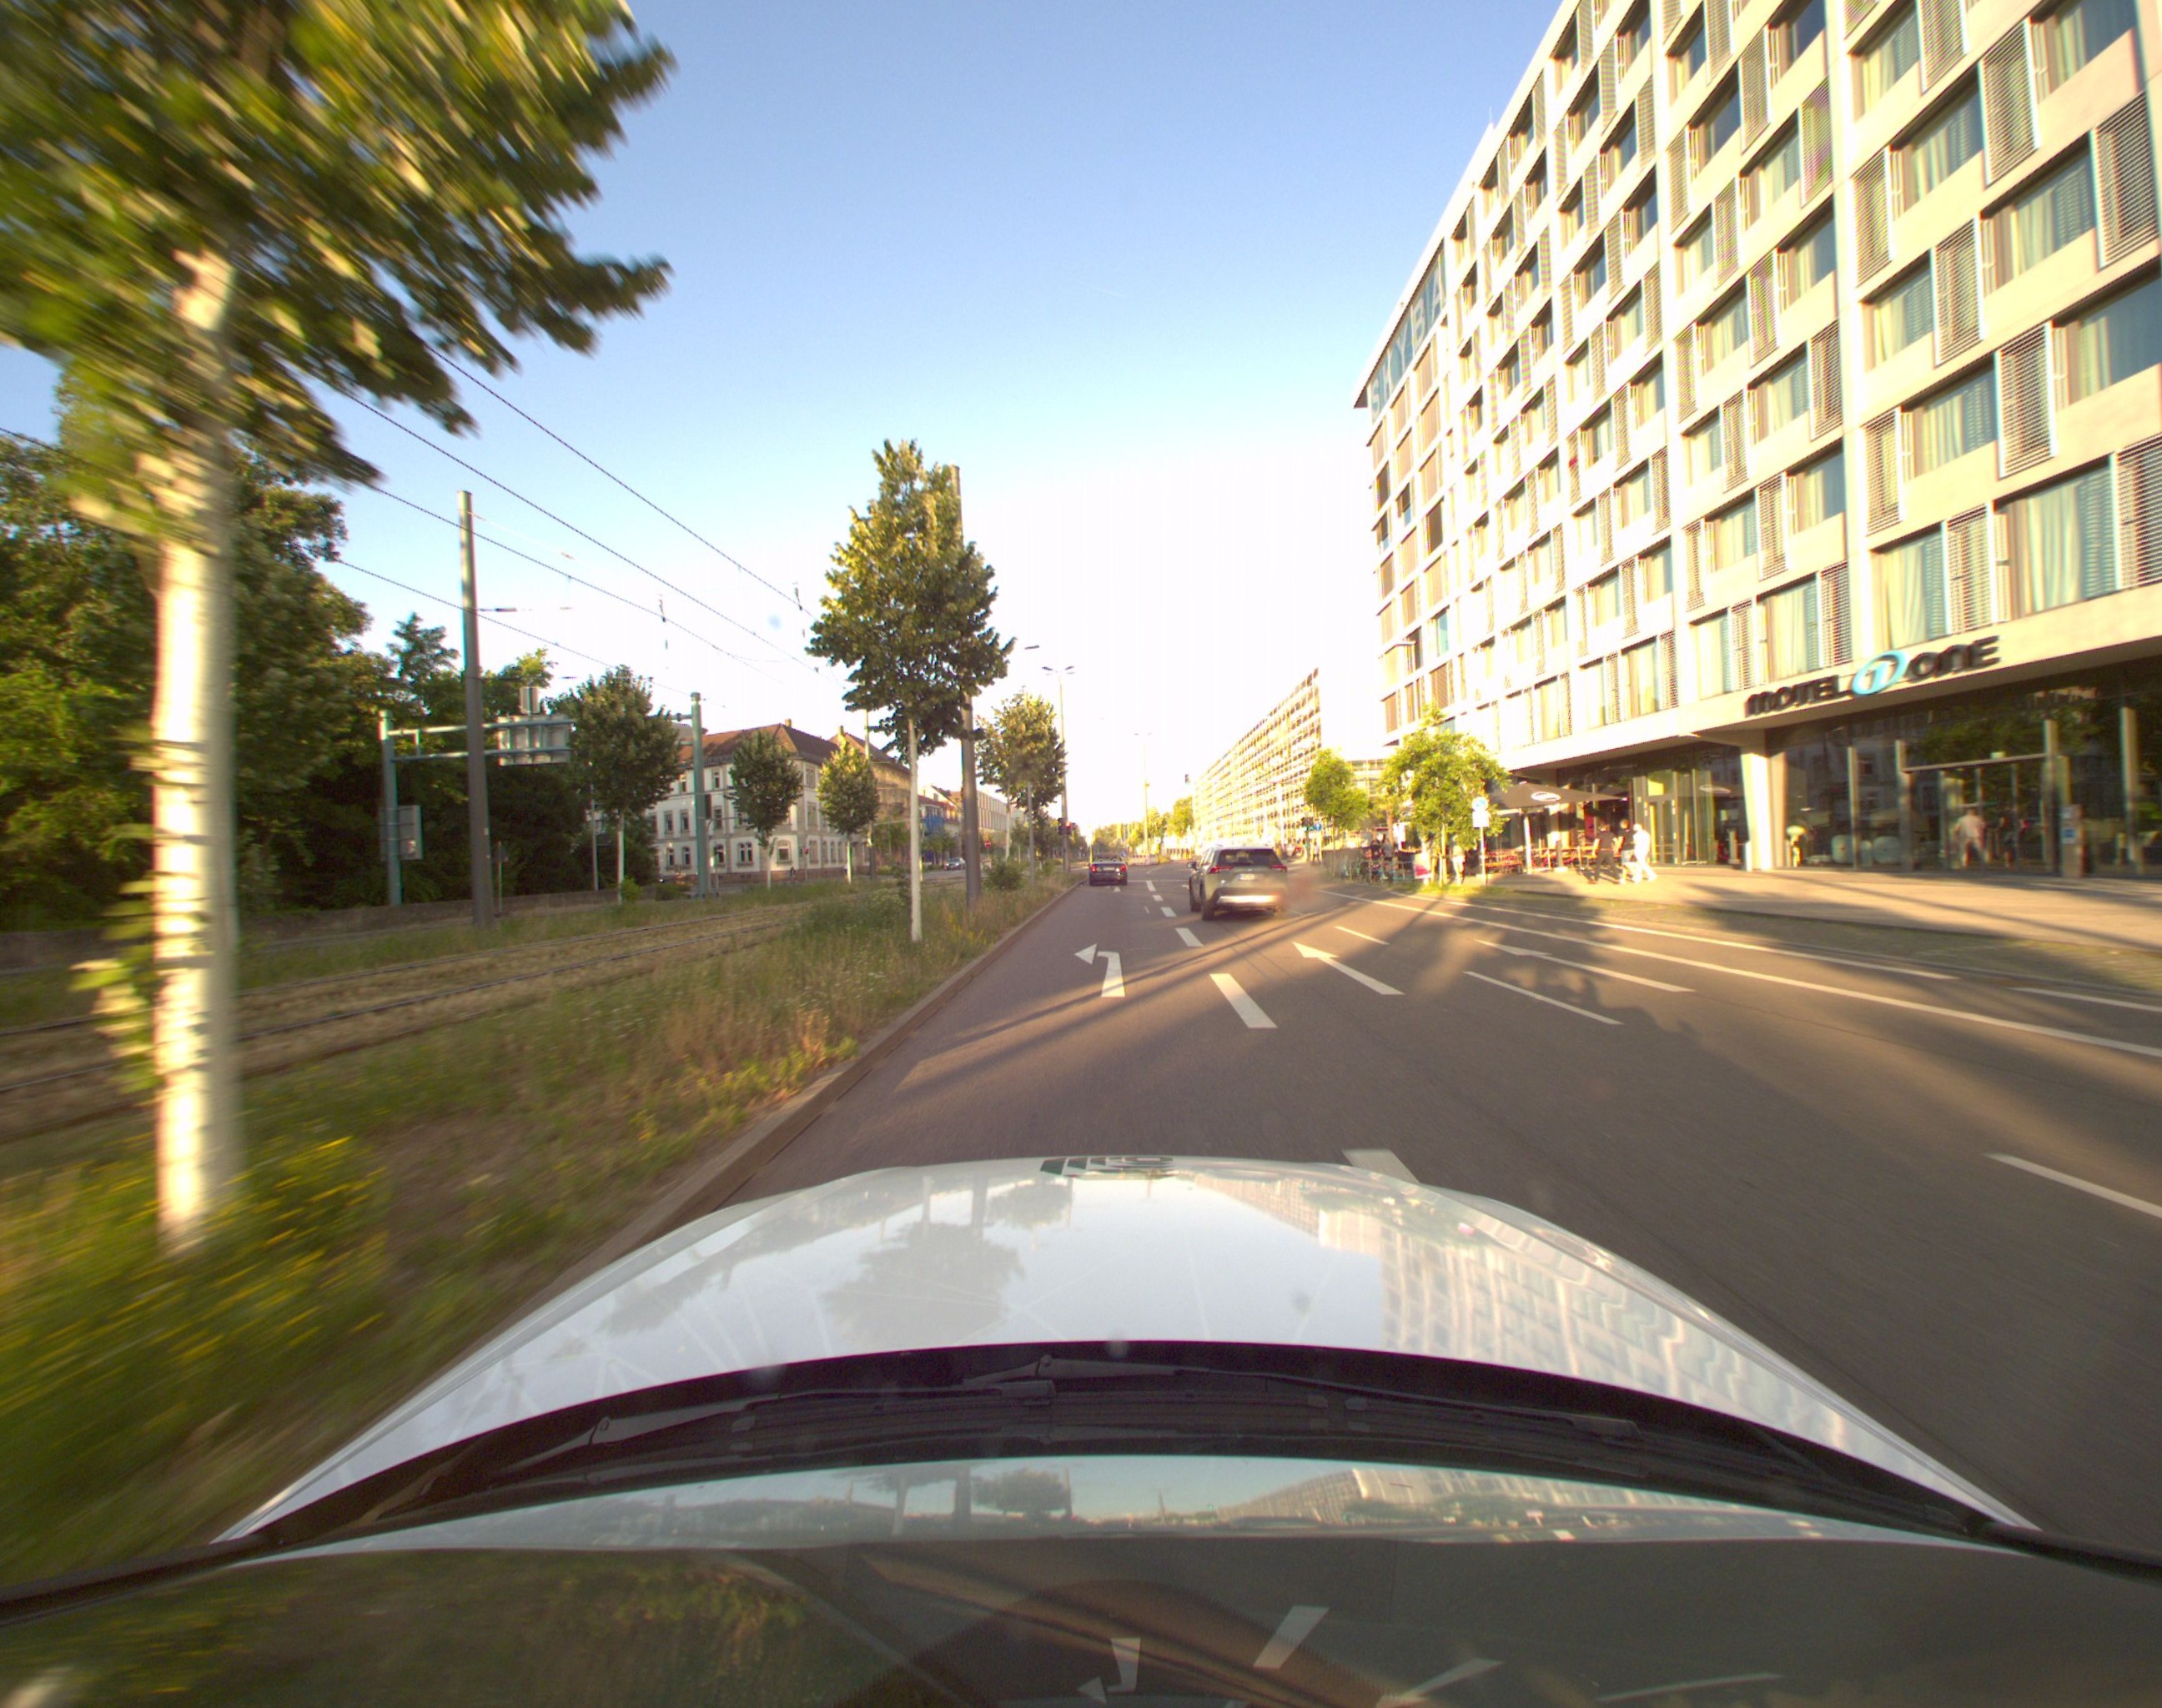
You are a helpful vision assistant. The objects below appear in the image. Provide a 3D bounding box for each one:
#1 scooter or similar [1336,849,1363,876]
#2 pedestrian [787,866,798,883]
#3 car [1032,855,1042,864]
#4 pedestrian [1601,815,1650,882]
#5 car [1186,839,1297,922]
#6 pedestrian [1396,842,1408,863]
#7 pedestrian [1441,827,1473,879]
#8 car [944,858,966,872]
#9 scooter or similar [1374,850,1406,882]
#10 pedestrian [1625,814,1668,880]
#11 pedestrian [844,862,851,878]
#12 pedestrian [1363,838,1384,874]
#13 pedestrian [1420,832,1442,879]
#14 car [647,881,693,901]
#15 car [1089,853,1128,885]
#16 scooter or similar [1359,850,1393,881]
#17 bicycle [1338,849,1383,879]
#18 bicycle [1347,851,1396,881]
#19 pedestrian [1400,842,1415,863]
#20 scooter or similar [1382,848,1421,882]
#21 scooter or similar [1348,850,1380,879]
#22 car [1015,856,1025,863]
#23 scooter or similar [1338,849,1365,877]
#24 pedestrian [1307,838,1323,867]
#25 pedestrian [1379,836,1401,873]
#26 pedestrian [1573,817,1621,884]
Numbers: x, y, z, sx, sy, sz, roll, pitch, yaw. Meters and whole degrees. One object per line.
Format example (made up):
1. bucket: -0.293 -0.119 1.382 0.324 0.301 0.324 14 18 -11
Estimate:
1. scooter or similar: 12.969 0.393 39.356 1.049 1.223 0.598 -4 0 -2
2. pedestrian: -25.672 1.812 72.413 0.600 1.458 0.937 -1 0 5
3. car: -10.038 1.150 186.157 1.650 1.964 4.271 0 0 4
4. pedestrian: 15.467 -0.160 23.153 0.751 1.824 0.943 -4 0 11
5. car: 3.584 0.532 18.931 1.827 1.672 4.284 -1 0 2
6. pedestrian: 21.087 -0.111 53.532 0.607 1.319 0.624 -5 0 20
7. pedestrian: 14.383 -0.034 31.172 0.819 1.888 0.869 -4 -1 10
8. car: -16.998 1.457 110.240 1.985 1.580 4.128 -4 0 3
9. scooter or similar: 12.624 0.477 33.283 1.119 1.213 0.534 -5 -2 17
10. pedestrian: 16.202 -0.190 23.354 0.615 1.811 0.779 -5 -1 11
11. pedestrian: -24.880 1.674 86.724 0.705 1.715 0.807 0 0 -21
12. pedestrian: 14.003 0.093 38.948 0.651 1.702 0.689 -4 0 2
13. pedestrian: 13.661 0.062 31.806 0.572 1.786 0.832 -4 -1 16
14. car: -36.694 3.297 72.695 3.948 1.555 1.801 0 0 32
15. car: 1.266 0.646 37.206 1.667 1.352 4.002 -1 0 2
16. scooter or similar: 12.346 0.498 34.080 1.151 1.191 0.510 -4 -2 4
17. bicycle: 12.693 0.463 37.030 1.789 1.193 0.567 -5 0 -3
18. bicycle: 12.548 0.514 35.242 1.840 1.181 0.608 -5 0 1
19. pedestrian: 21.046 -0.103 52.474 0.740 1.319 0.717 -5 0 15
20. scooter or similar: 12.506 0.434 31.762 1.280 1.218 0.539 -5 -1 26
21. scooter or similar: 12.664 0.485 36.487 1.206 1.201 0.479 -4 0 -3
22. car: -13.942 1.268 186.236 1.650 1.431 3.899 0 0 4
23. scooter or similar: 12.672 0.438 38.185 1.054 1.223 0.551 -5 0 11
24. pedestrian: 15.686 -0.093 54.624 0.765 1.847 0.679 -3 0 2
25. pedestrian: 14.819 0.022 39.048 0.682 1.734 0.761 -5 0 2
26. pedestrian: 14.820 -0.106 23.431 0.739 1.849 0.943 -5 -1 11
